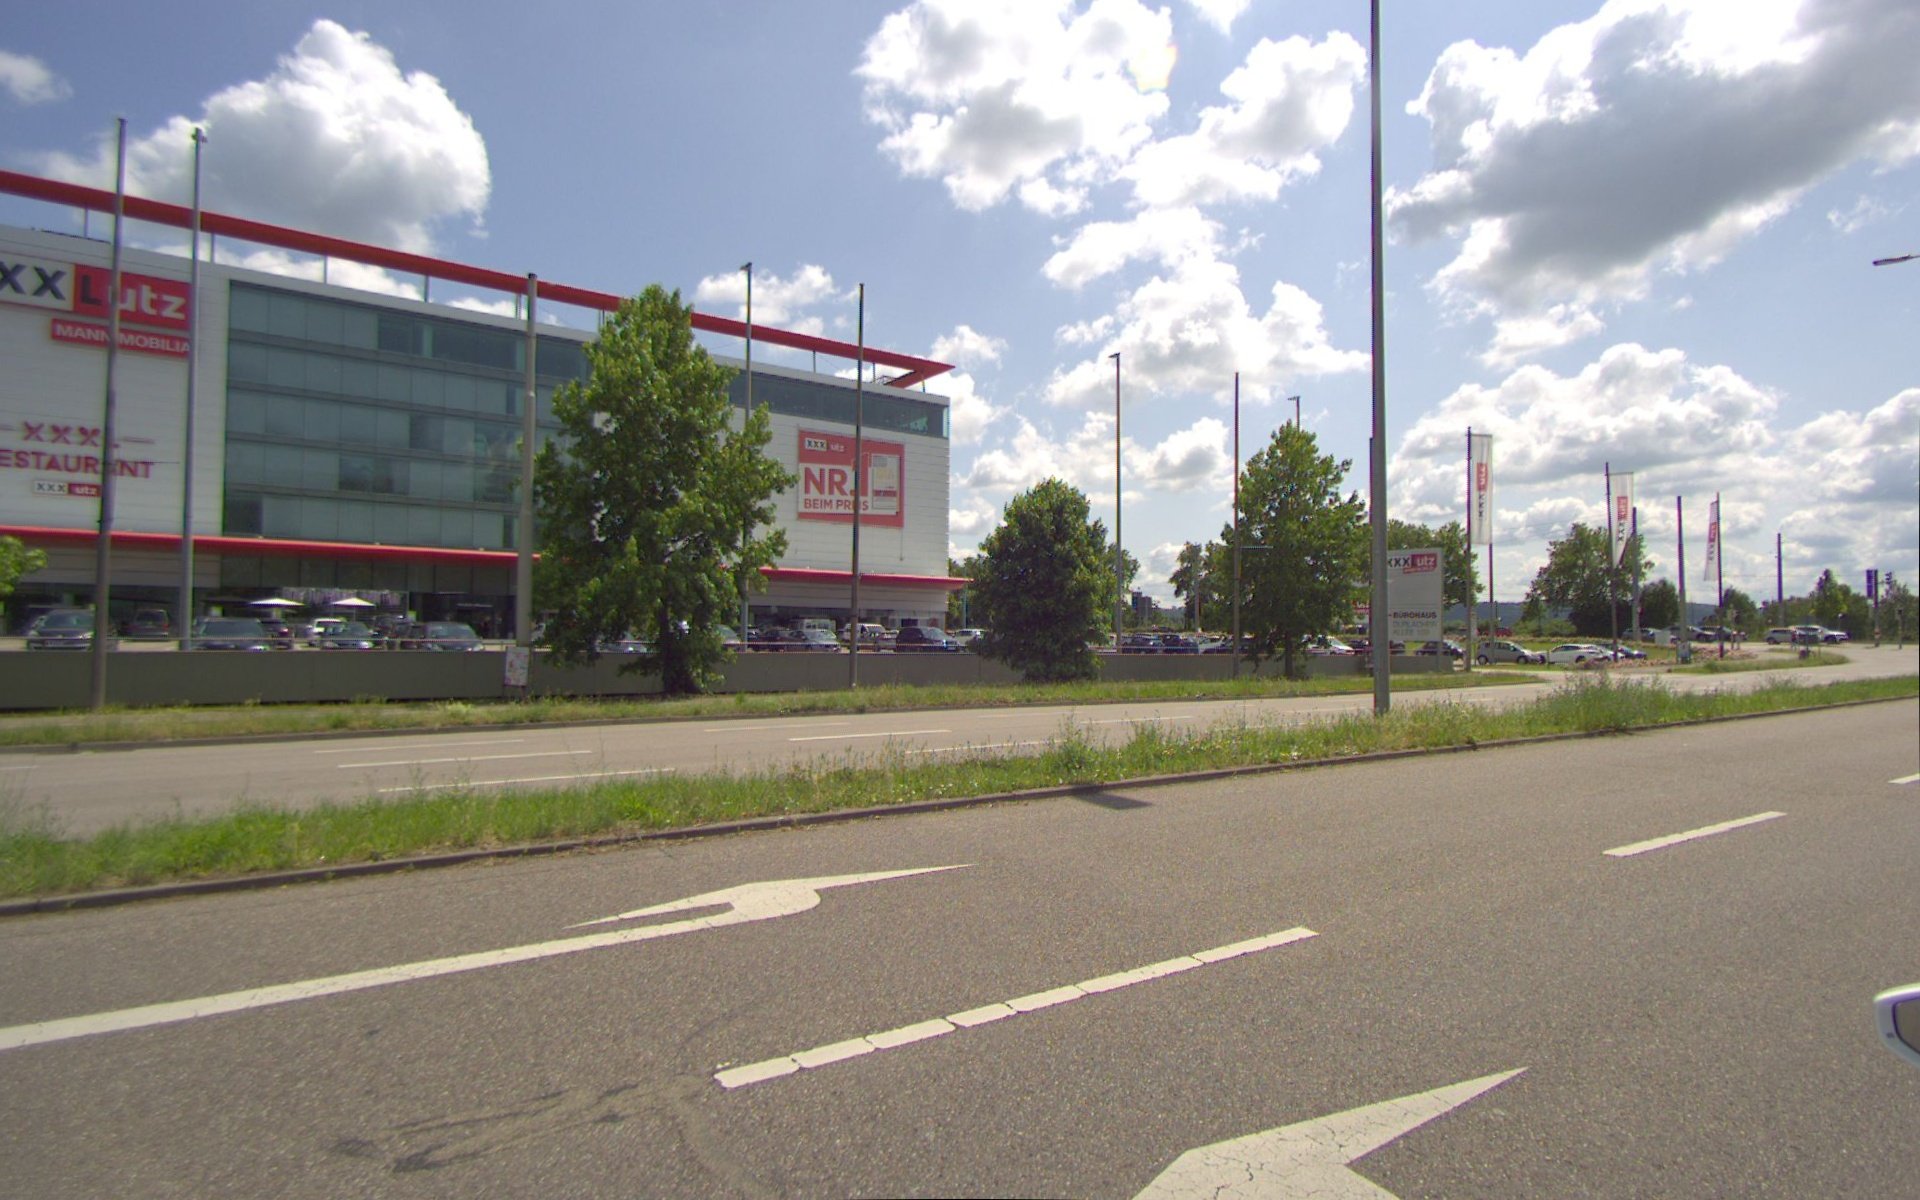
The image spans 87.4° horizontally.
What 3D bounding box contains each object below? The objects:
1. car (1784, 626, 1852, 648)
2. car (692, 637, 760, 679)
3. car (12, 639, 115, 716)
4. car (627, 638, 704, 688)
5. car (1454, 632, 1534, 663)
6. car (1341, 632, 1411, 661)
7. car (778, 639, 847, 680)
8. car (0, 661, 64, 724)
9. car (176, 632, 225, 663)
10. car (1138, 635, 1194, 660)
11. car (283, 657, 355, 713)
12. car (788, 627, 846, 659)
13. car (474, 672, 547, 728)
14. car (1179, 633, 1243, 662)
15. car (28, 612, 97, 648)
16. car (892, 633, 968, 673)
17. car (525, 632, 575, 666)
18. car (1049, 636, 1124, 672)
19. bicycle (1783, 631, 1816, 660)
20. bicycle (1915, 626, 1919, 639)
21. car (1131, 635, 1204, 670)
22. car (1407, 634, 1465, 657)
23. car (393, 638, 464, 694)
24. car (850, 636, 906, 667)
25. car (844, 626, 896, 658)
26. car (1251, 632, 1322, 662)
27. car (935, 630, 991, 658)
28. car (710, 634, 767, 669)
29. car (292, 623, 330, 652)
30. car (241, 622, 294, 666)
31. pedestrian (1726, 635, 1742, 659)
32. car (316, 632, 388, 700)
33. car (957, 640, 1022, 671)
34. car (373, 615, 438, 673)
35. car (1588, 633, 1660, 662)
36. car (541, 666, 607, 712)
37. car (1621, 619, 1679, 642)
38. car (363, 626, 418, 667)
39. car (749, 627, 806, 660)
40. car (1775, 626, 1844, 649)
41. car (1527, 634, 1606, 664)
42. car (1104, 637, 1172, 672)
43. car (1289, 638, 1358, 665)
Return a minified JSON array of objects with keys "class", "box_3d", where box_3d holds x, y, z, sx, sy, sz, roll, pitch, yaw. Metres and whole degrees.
[{"class":"car","box_3d":[77.614,3.369,90.946,1.980,2.015,4.321,1,-3,-35]},{"class":"car","box_3d":[-12.135,2.950,51.917,1.972,2.069,4.259,1,-3,-35]},{"class":"car","box_3d":[-29.446,2.480,33.139,1.980,2.359,4.321,1,-3,-35]},{"class":"car","box_3d":[-13.071,2.740,44.399,1.980,2.015,4.321,0,-2,-35]},{"class":"car","box_3d":[36.001,3.183,67.828,1.980,2.015,4.321,1,-3,-35]},{"class":"car","box_3d":[31.198,3.469,75.429,1.980,2.015,4.552,2,-2,-35]},{"class":"car","box_3d":[-7.992,3.173,54.104,1.980,2.076,4.321,1,-3,-35]},{"class":"car","box_3d":[-26.550,2.531,27.844,1.829,1.617,3.967,1,-3,-32]},{"class":"car","box_3d":[-38.344,2.401,50.767,1.662,1.489,3.800,1,-3,-32]},{"class":"car","box_3d":[17.037,3.909,83.247,1.980,2.015,4.321,1,-3,-35]},{"class":"car","box_3d":[-20.284,2.631,31.890,1.825,1.617,3.967,1,-3,-32]},{"class":"car","box_3d":[-9.361,2.817,65.552,1.980,2.015,4.321,1,-3,-35]},{"class":"car","box_3d":[-18.215,3.975,40.623,1.980,2.040,3.962,1,-3,-35]},{"class":"car","box_3d":[18.106,3.457,72.601,1.981,2.015,4.321,3,-4,-35]},{"class":"car","box_3d":[-39.557,1.332,44.348,1.662,1.489,3.800,1,-3,-32]},{"class":"car","box_3d":[-1.629,2.785,53.009,1.980,2.015,4.321,1,-3,-35]},{"class":"car","box_3d":[-25.155,3.009,61.545,1.980,2.015,4.321,1,-3,-35]},{"class":"car","box_3d":[7.293,3.111,58.397,1.980,2.015,4.321,1,-3,-35]},{"class":"bicycle","box_3d":[51.625,2.791,61.742,2.028,1.697,1.011,1,-3,-35]},{"class":"bicycle","box_3d":[75.271,2.573,77.659,0.616,1.012,2.004,1,1,-34]},{"class":"car","box_3d":[12.920,3.239,62.712,1.980,2.015,4.320,1,-2,-35]},{"class":"car","box_3d":[42.288,4.073,89.304,1.980,2.015,4.321,1,-3,-35]},{"class":"car","box_3d":[-20.465,2.506,38.609,1.980,2.040,3.962,1,-3,-35]},{"class":"car","box_3d":[-5.631,3.510,68.316,1.979,2.015,4.323,1,-3,-33]},{"class":"car","box_3d":[-6.719,3.108,74.364,1.851,2.336,4.527,1,-3,-35]},{"class":"car","box_3d":[22.426,3.225,69.086,1.980,2.015,4.321,1,-3,-35]},{"class":"car","box_3d":[0.188,3.196,72.824,1.980,2.015,4.321,2,-3,-35]},{"class":"car","box_3d":[-13.671,3.158,61.853,1.980,2.015,4.321,1,-3,-35]},{"class":"car","box_3d":[-34.408,2.003,53.311,1.662,1.489,3.800,1,-3,-32]},{"class":"car","box_3d":[-33.314,2.119,48.301,1.980,2.015,4.321,1,-3,-35]},{"class":"pedestrian","box_3d":[61.521,3.737,79.831,0.851,1.862,0.797,1,0,27]},{"class":"car","box_3d":[-22.784,2.426,37.576,1.980,2.359,4.321,1,-3,-35]},{"class":"car","box_3d":[1.766,3.381,61.548,1.760,1.854,4.321,1,-3,-35]},{"class":"car","box_3d":[-23.861,1.908,43.178,1.980,2.359,4.321,1,-3,-35]},{"class":"car","box_3d":[47.556,3.410,71.996,1.987,2.040,3.947,2,-3,-45]},{"class":"car","box_3d":[-18.698,4.235,48.560,1.980,2.015,4.321,1,-3,-35]},{"class":"car","box_3d":[63.040,2.839,91.828,1.969,2.040,3.985,0,-3,-18]},{"class":"car","box_3d":[-28.997,2.372,51.089,1.980,2.015,4.321,1,-3,-35]},{"class":"car","box_3d":[-11.615,2.746,63.688,1.980,2.015,4.321,1,-3,-35]},{"class":"car","box_3d":[75.377,3.340,89.180,1.980,2.015,4.321,1,-3,-35]},{"class":"car","box_3d":[42.836,3.456,70.998,1.980,2.015,4.321,1,-3,-35]},{"class":"car","box_3d":[10.857,3.316,61.477,1.825,2.015,4.044,2,-2,-35]},{"class":"car","box_3d":[26.375,3.743,73.002,1.980,1.863,4.321,1,-3,-35]}]
